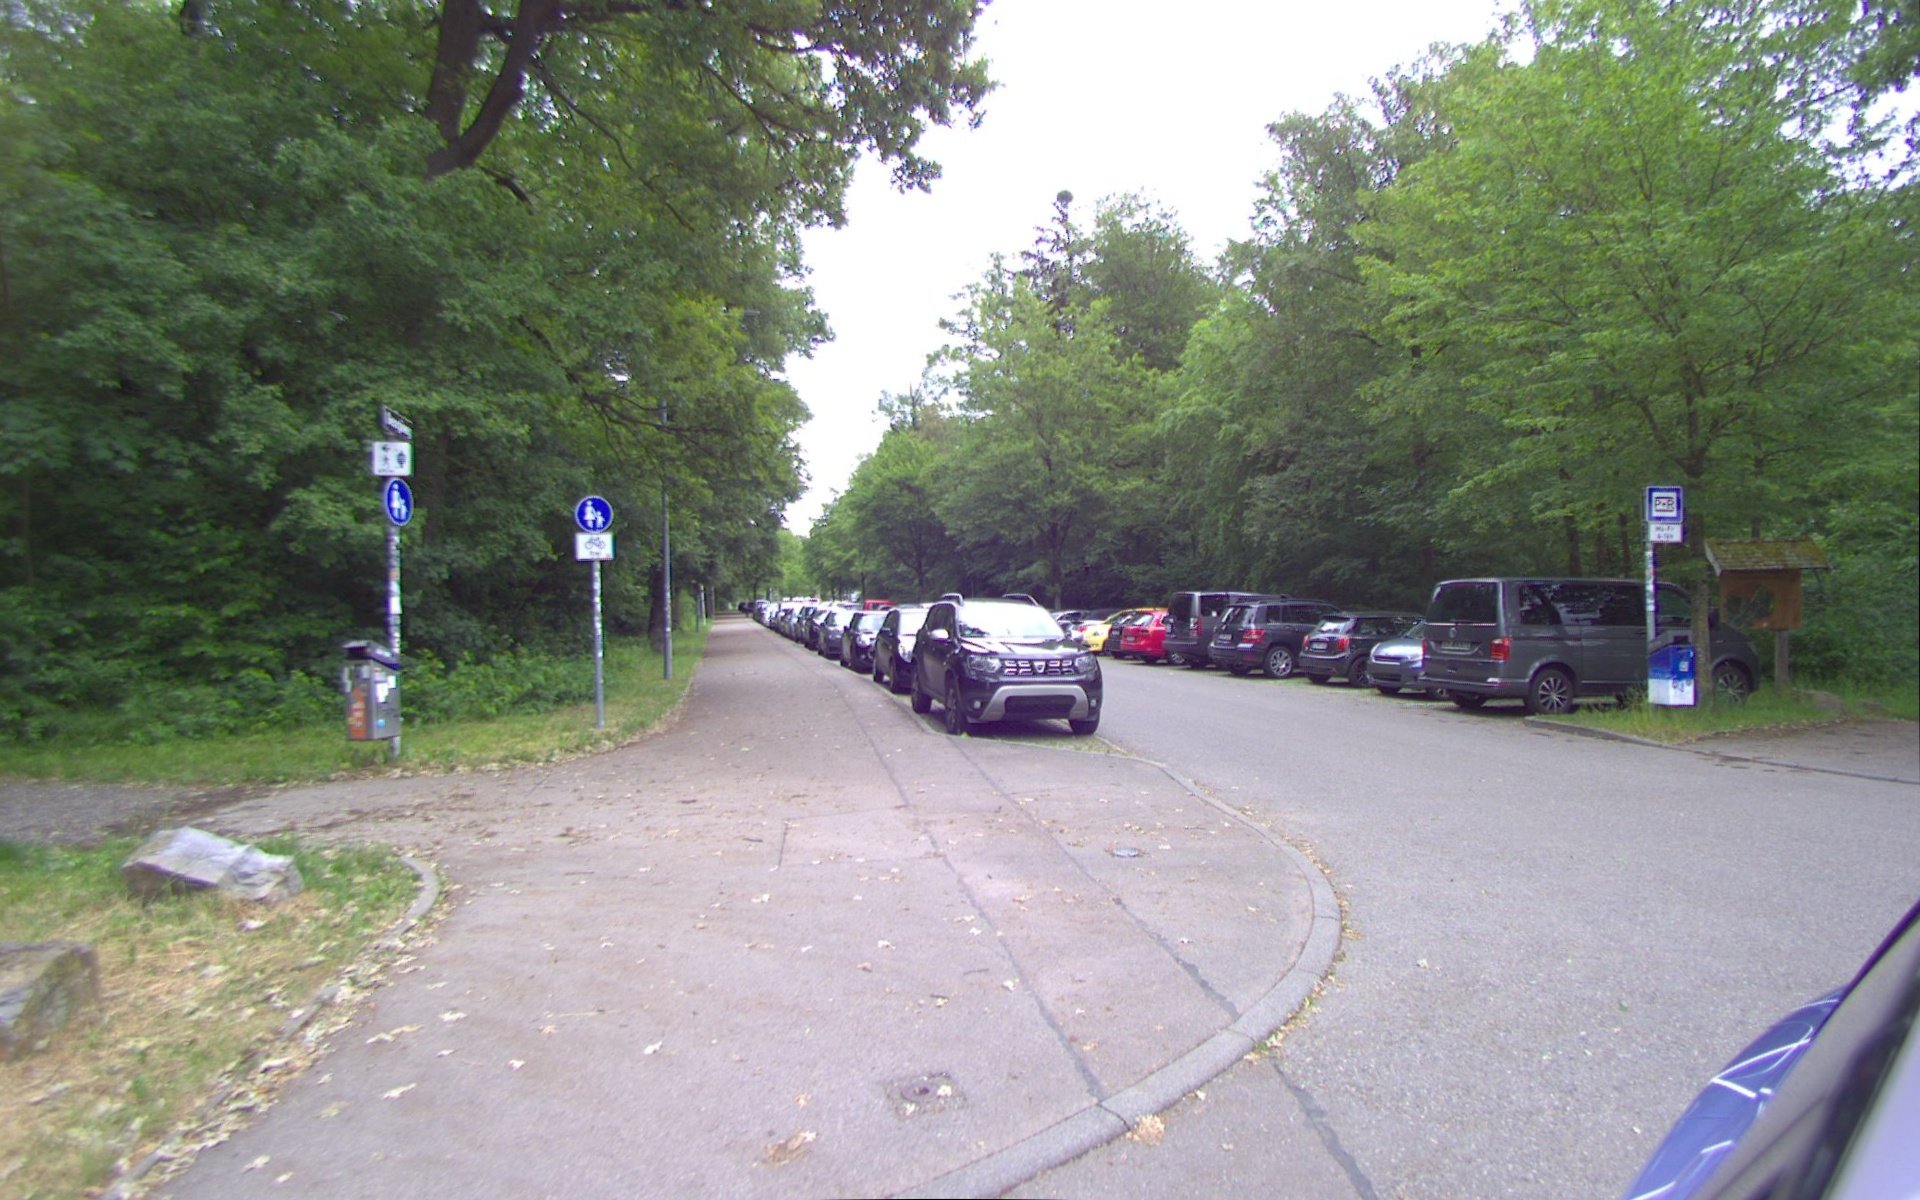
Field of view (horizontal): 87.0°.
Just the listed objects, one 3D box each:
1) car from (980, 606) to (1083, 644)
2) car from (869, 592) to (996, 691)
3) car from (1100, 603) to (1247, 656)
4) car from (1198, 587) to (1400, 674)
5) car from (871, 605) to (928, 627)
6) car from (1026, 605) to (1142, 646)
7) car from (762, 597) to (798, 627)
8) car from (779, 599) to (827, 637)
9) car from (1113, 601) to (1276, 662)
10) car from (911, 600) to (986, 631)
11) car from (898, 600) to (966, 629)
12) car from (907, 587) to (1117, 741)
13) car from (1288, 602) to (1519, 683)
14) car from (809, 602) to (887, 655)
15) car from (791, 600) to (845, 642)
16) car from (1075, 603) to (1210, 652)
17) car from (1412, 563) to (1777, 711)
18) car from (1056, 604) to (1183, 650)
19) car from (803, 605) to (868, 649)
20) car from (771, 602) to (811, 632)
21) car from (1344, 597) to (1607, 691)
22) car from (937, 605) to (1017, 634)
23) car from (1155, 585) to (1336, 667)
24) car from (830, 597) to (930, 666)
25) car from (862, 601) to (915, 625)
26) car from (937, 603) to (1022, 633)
[{"bbox_3d":[2.952,1.003,42.182,3.916,1.486,1.718,-1,-1,-13],"label":"car"},{"bbox_3d":[-0.644,0.704,19.254,1.706,1.654,4.382,0,0,-11],"label":"car"},{"bbox_3d":[6.353,0.852,30.249,3.916,1.456,1.675,-1,-1,-15],"label":"car"},{"bbox_3d":[7.605,0.645,22.862,3.916,1.788,1.827,-1,-1,-14],"label":"car"},{"bbox_3d":[-4.452,1.169,74.122,3.916,1.535,1.774,0,-1,-12],"label":"car"},{"bbox_3d":[4.566,0.916,37.484,3.916,1.457,1.718,0,-1,-13],"label":"car"},{"bbox_3d":[-10.582,0.706,59.299,1.705,1.664,5.081,0,0,-15],"label":"car"},{"bbox_3d":[-7.130,0.789,45.717,1.705,1.588,4.016,0,0,-15],"label":"car"},{"bbox_3d":[6.343,0.828,27.543,3.916,1.495,1.783,-1,-1,-15],"label":"car"},{"bbox_3d":[-0.679,0.867,57.328,3.916,1.683,1.818,0,-1,-14],"label":"car"},{"bbox_3d":[-1.727,0.886,62.045,3.916,1.683,1.817,0,-1,-12],"label":"car"},{"bbox_3d":[0.484,0.700,13.093,1.778,1.654,4.005,0,0,-11],"label":"car"},{"bbox_3d":[8.845,0.803,20.294,3.917,1.448,1.723,-1,-1,-12],"label":"car"},{"bbox_3d":[-3.454,0.810,30.626,1.705,1.450,4.510,0,0,-15],"label":"car"},{"bbox_3d":[-5.886,0.829,41.515,1.705,1.609,4.390,0,0,-15],"label":"car"},{"bbox_3d":[5.857,0.865,32.589,3.916,1.456,1.620,-1,-1,-13],"label":"car"},{"bbox_3d":[9.326,0.517,15.038,4.423,2.003,1.894,0,-1,-10],"label":"car"},{"bbox_3d":[5.463,0.910,34.884,3.916,1.456,1.736,-1,-1,-13],"label":"car"},{"bbox_3d":[-4.522,0.922,36.241,1.705,1.450,4.510,0,0,-15],"label":"car"},{"bbox_3d":[-9.098,0.887,54.262,1.705,1.493,4.614,0,0,-15],"label":"car"},{"bbox_3d":[8.984,0.741,17.783,3.748,1.532,1.812,0,-1,-10],"label":"car"},{"bbox_3d":[0.858,1.007,52.357,3.917,1.454,1.651,0,-1,-11],"label":"car"},{"bbox_3d":[7.082,0.608,25.247,3.916,1.886,1.816,-1,-1,-13],"label":"car"},{"bbox_3d":[-2.042,0.708,24.673,1.705,1.514,4.242,0,0,-15],"label":"car"},{"bbox_3d":[-5.595,1.050,79.035,3.916,1.838,1.821,0,-1,-13],"label":"car"},{"bbox_3d":[0.925,0.889,49.971,3.917,1.454,1.680,0,-1,-11],"label":"car"}]
